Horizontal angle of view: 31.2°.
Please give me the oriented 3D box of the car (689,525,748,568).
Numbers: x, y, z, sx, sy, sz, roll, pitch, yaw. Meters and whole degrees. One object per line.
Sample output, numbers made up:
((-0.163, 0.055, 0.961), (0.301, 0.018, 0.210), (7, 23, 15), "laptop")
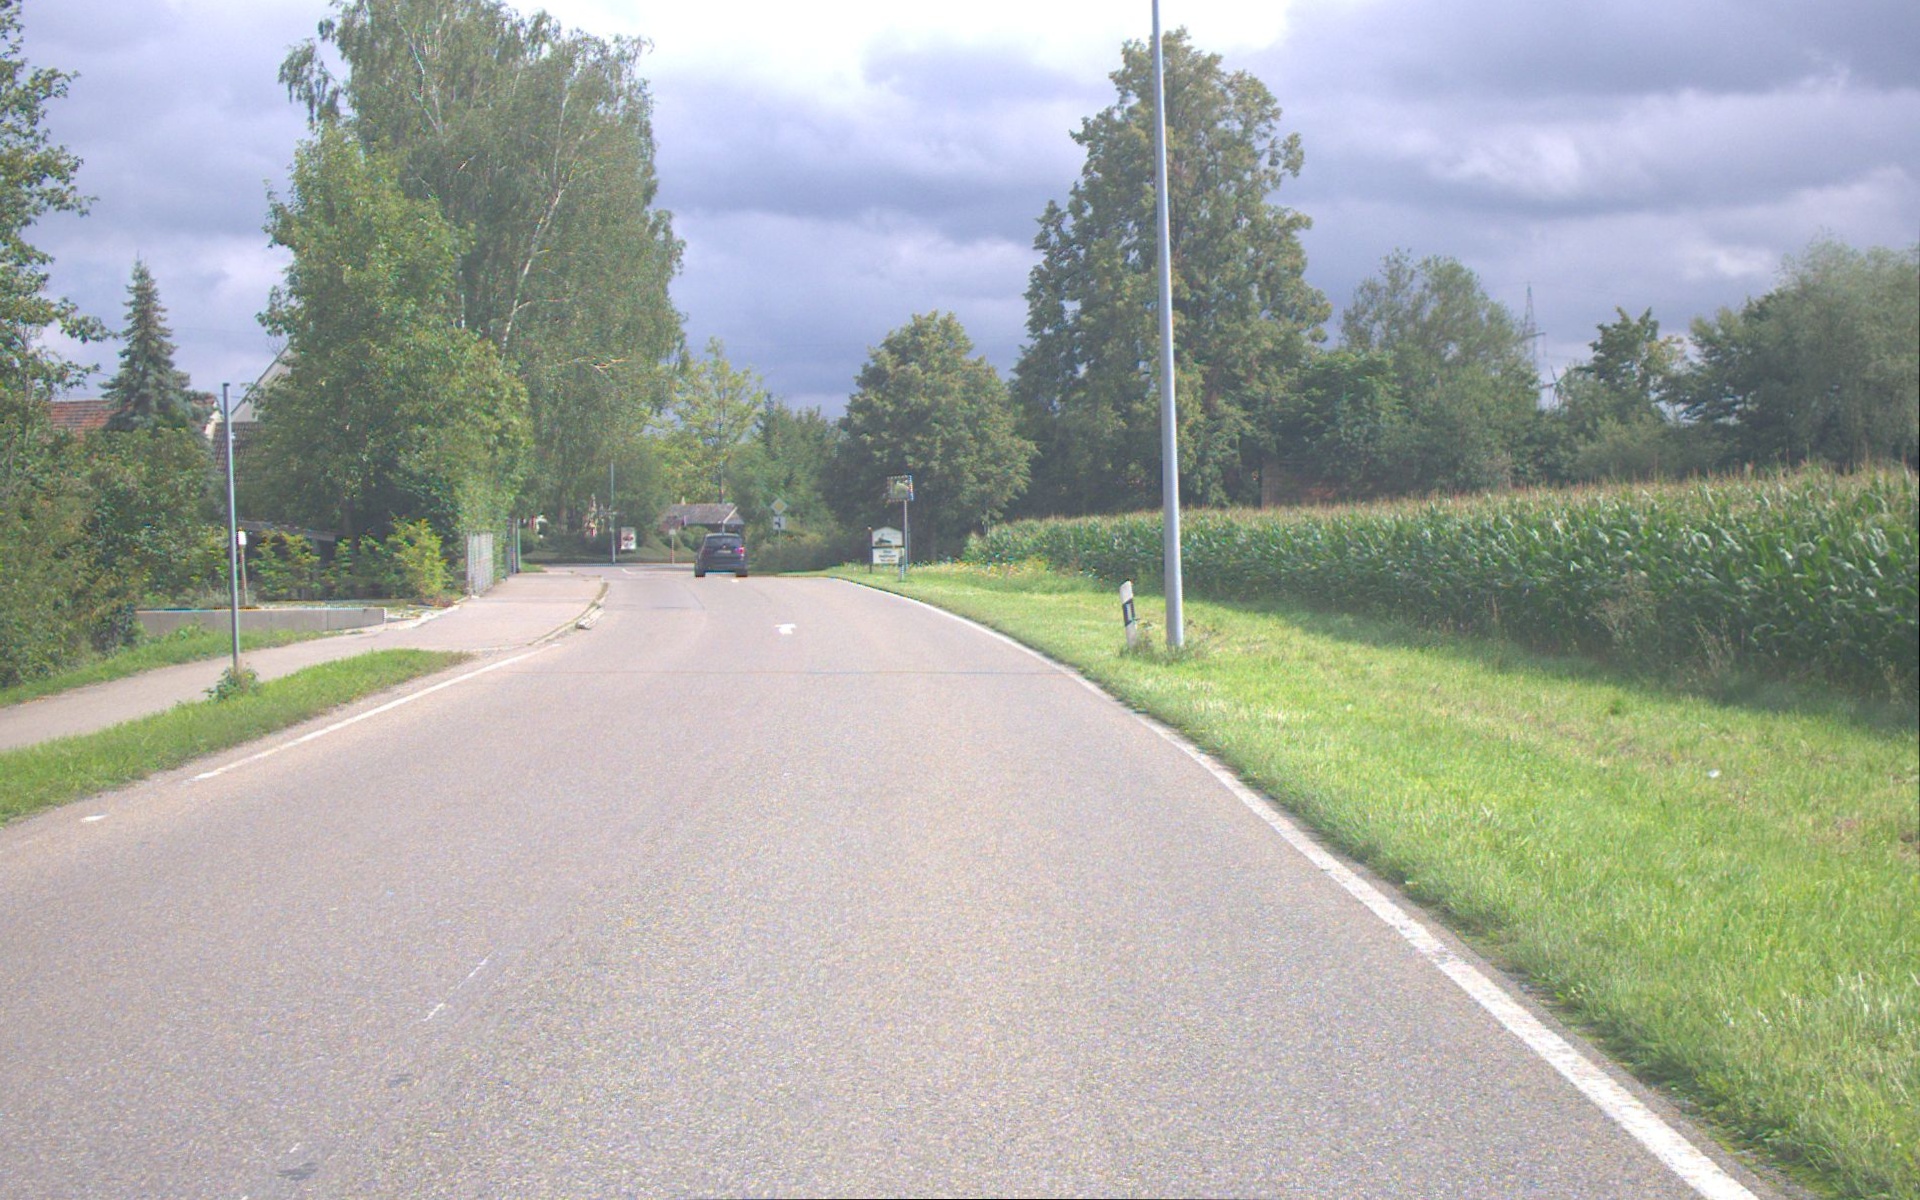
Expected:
((-9.173, -2.021, 130.314), (1.993, 1.579, 4.001), (1, 0, -7), "car")
